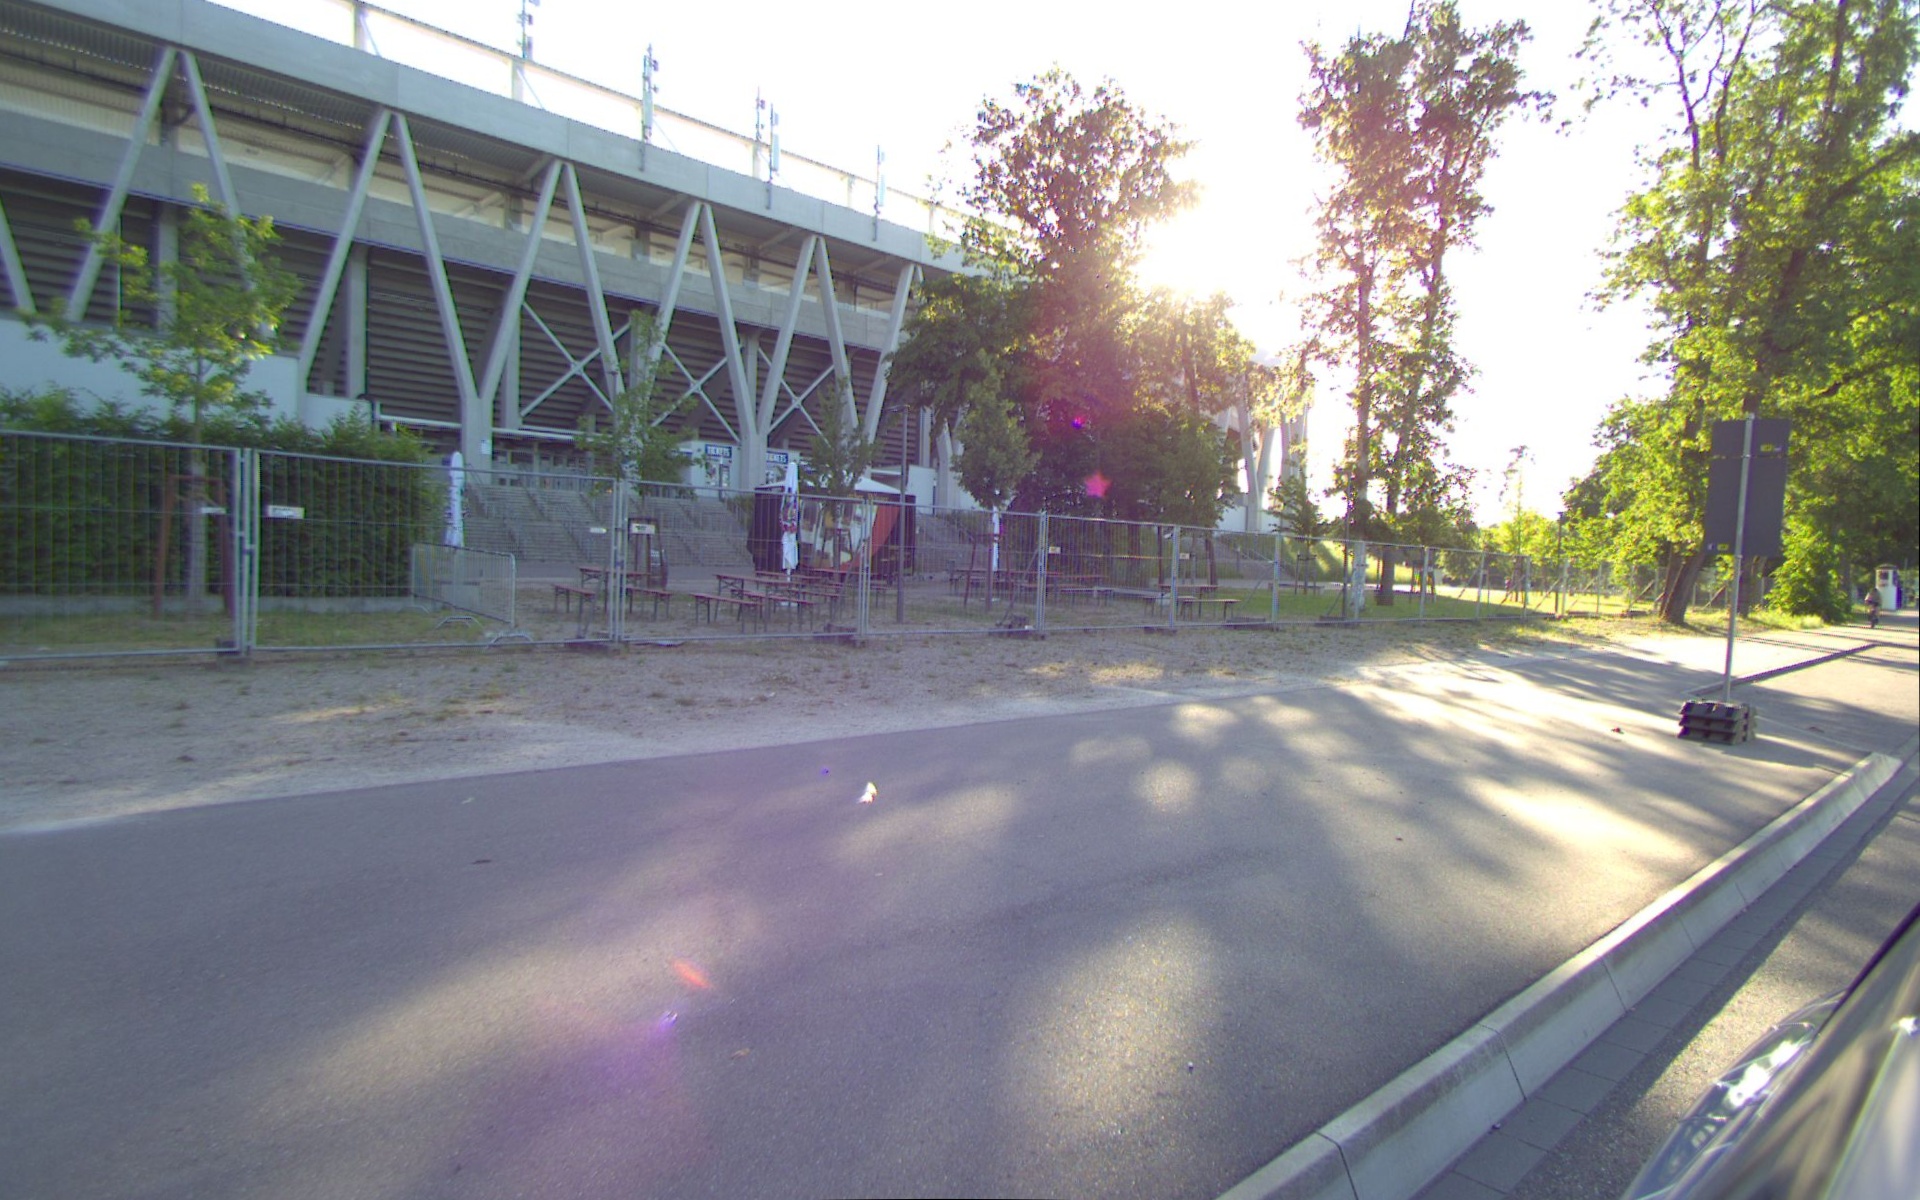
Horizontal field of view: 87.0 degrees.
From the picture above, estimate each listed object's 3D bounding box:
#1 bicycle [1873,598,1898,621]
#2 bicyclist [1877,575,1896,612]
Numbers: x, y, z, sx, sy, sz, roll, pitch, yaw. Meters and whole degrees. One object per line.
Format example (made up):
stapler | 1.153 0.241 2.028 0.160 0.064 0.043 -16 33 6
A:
bicycle | 36.655 0.384 40.068 1.876 0.869 0.481 0 2 -41
bicyclist | 36.764 -0.259 40.149 0.565 1.438 0.451 0 2 -40
